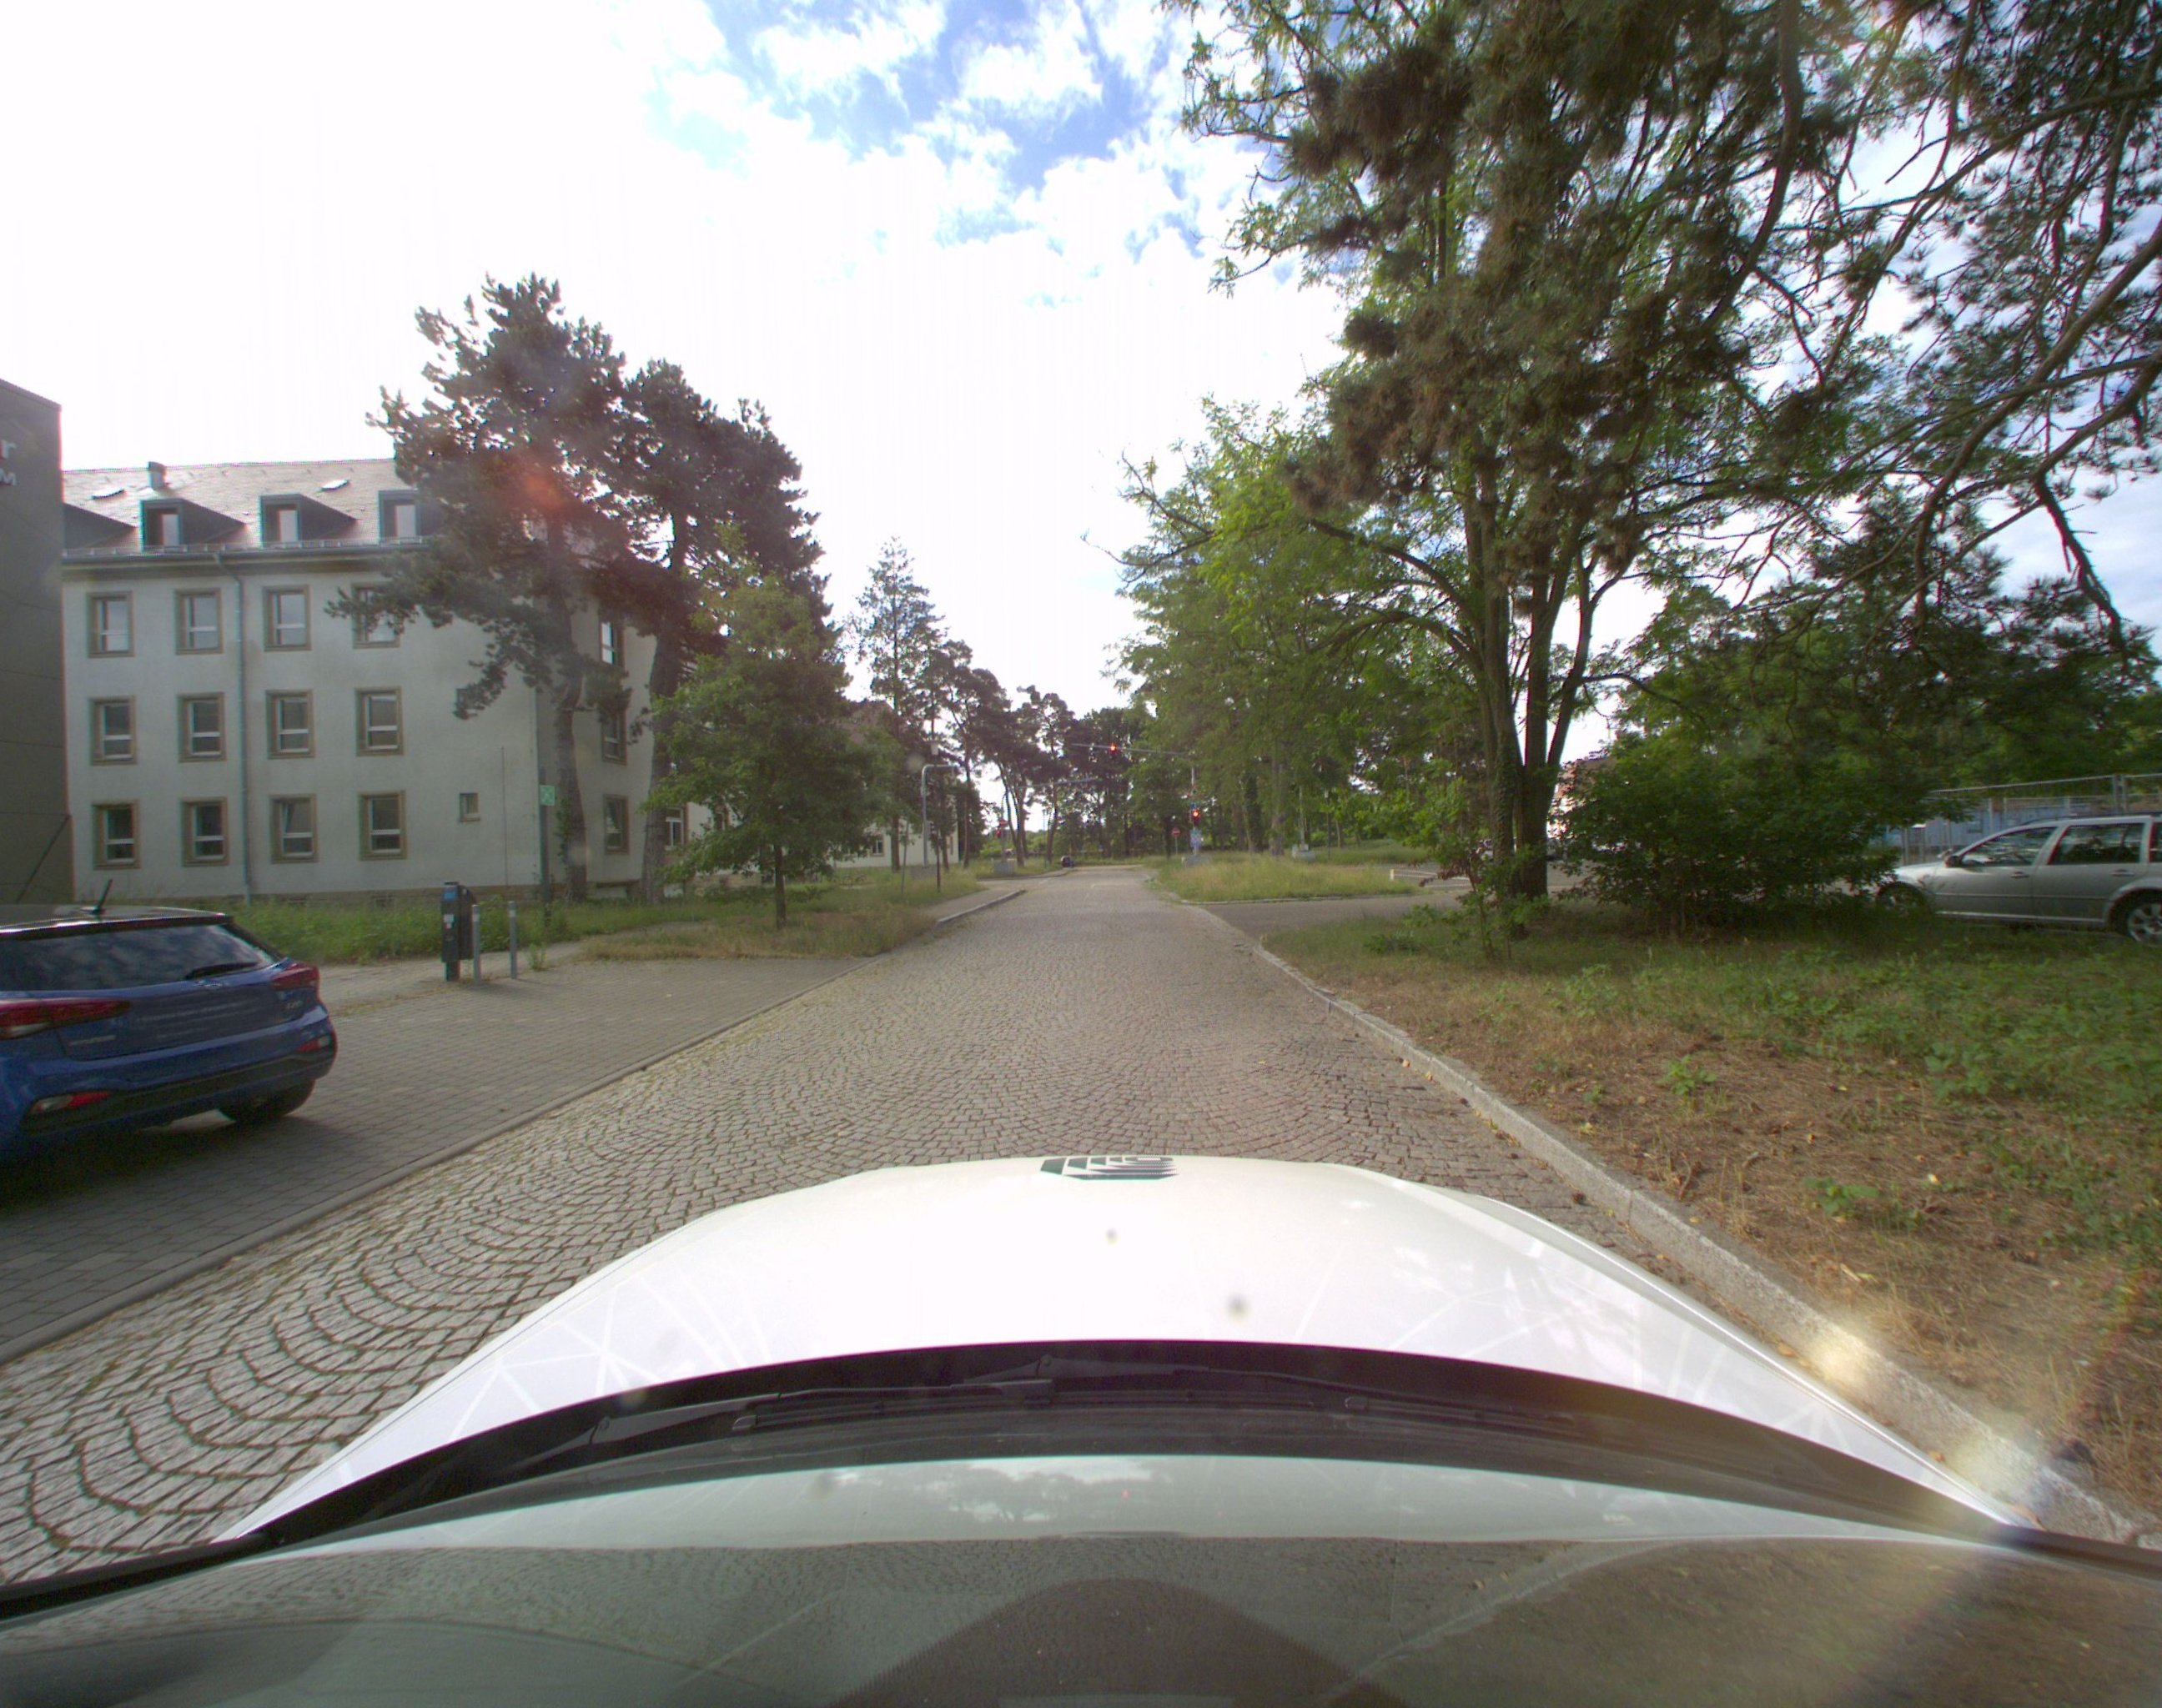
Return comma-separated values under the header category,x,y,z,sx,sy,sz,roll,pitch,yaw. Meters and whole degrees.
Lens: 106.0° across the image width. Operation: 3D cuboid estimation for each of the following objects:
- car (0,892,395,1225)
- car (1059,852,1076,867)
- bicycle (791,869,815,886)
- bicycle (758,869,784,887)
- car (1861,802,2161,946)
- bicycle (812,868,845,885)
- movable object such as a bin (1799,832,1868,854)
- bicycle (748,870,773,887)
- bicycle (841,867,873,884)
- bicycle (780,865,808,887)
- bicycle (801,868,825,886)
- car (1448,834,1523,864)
category,x,y,z,sx,sy,sz,roll,pitch,yaw
car,-6.753,1.034,4.900,3.748,1.478,1.854,-1,0,4
car,-1.782,0.707,110.818,2.048,1.846,4.001,-2,0,1
bicycle,-18.749,1.569,54.977,0.733,1.076,2.274,-2,0,2
bicycle,-20.935,1.606,55.001,0.733,1.076,2.274,-2,0,2
car,11.598,0.207,9.251,1.640,1.427,4.073,1,0,1
bicycle,-16.668,1.476,53.757,1.848,1.076,0.739,-2,0,3
movable object such as a bin,31.471,-0.458,34.090,1.179,0.825,1.957,-2,0,6
bicycle,-21.663,1.630,55.090,0.733,1.076,2.274,-2,0,2
bicycle,-14.785,1.417,53.751,1.848,1.076,0.832,-2,0,3
bicycle,-19.483,1.449,55.351,0.733,1.385,2.713,-2,0,2
bicycle,-18.106,1.540,55.043,0.733,1.076,2.274,-2,0,2
car,23.080,-0.235,46.653,1.988,1.481,4.422,-2,-1,-2
